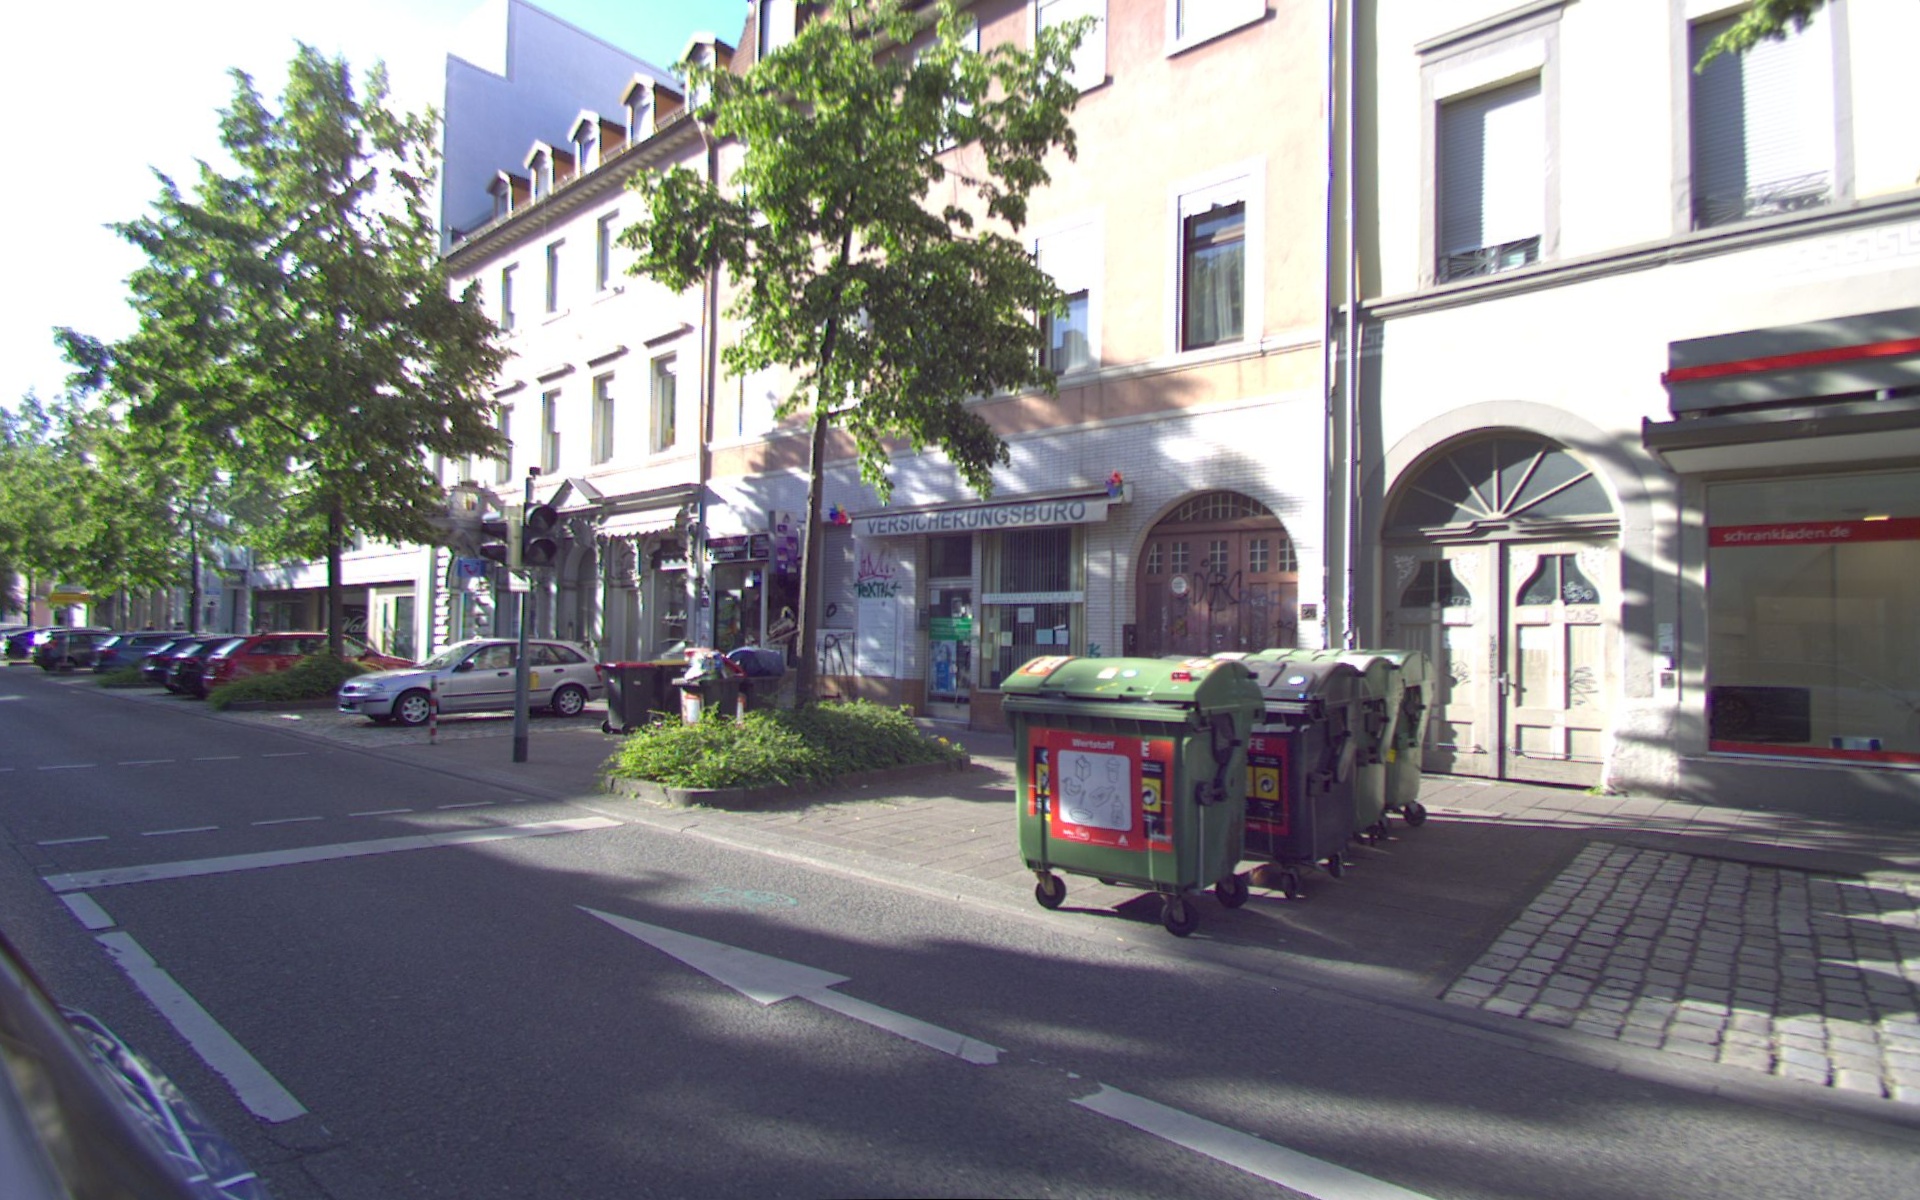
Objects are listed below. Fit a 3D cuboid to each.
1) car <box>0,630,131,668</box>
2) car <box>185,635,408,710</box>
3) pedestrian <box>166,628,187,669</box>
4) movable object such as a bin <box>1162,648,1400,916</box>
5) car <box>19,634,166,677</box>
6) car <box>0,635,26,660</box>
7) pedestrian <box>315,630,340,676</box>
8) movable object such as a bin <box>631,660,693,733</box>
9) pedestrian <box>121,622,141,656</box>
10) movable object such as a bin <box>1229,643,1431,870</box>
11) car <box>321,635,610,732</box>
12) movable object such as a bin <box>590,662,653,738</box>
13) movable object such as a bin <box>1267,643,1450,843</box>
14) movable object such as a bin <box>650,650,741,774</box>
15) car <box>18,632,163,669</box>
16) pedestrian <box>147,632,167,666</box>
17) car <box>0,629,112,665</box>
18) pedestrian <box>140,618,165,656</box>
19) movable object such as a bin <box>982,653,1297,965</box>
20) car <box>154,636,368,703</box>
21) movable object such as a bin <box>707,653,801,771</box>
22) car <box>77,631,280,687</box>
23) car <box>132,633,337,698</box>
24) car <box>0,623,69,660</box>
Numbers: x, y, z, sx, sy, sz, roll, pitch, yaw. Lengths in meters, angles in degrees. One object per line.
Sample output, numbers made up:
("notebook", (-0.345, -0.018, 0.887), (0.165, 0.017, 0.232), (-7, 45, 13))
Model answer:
("car", (-39.464, 2.133, 44.548), (1.979, 1.582, 4.320), (-2, -3, 41))
("car", (-14.329, 1.496, 21.990), (1.738, 1.479, 3.709), (-2, -3, 40))
("pedestrian", (-35.231, 2.175, 45.534), (0.690, 1.811, 0.747), (2, -3, -37))
("movable object such as a bin", (2.045, 1.061, 6.451), (1.142, 1.483, 1.031), (-2, -4, 40))
("car", (-31.347, 1.968, 36.643), (1.778, 1.470, 3.744), (-2, -3, 38))
("car", (-58.257, 2.846, 60.197), (1.708, 1.475, 3.742), (-2, -3, 38))
("pedestrian", (-20.140, 1.678, 32.207), (0.502, 1.419, 0.825), (1, -3, -45))
("movable object such as a bin", (-4.585, 1.471, 15.571), (0.804, 1.077, 0.525), (-2, -4, 40))
("pedestrian", (-40.219, 1.889, 49.100), (0.726, 1.639, 0.559), (-1, 1, 39))
("movable object such as a bin", (2.712, 1.066, 7.430), (1.142, 1.483, 0.954), (-1, -4, 40))
("car", (-8.431, 1.351, 17.533), (1.740, 1.479, 4.157), (-2, -3, 43))
("movable object such as a bin", (-5.018, 1.461, 15.007), (0.804, 1.077, 0.525), (-2, -4, 40))
("movable object such as a bin", (3.294, 1.111, 8.360), (1.142, 1.483, 1.031), (-2, -4, 40))
("movable object such as a bin", (-3.031, 1.253, 11.595), (0.804, 1.351, 0.628), (-2, -4, 40))
("car", (-35.893, 2.067, 41.858), (1.977, 1.470, 4.205), (-2, -3, 37))
("pedestrian", (-36.090, 2.195, 45.485), (0.842, 1.505, 0.586), (-2, -1, 42))
("car", (-41.639, 2.139, 46.138), (1.945, 1.582, 4.320), (-2, -3, 41))
("pedestrian", (-39.697, 1.813, 49.735), (0.762, 1.779, 0.767), (-1, 1, 39))
("movable object such as a bin", (1.020, 1.061, 5.788), (1.451, 1.483, 1.031), (-2, -4, 40))
("car", (-16.273, 1.561, 23.693), (1.789, 1.440, 3.799), (-2, -3, 42))
("movable object such as a bin", (-2.483, 1.321, 12.223), (0.804, 1.351, 0.747), (-2, -4, 40))
("car", (-22.889, 1.687, 29.812), (1.788, 1.470, 4.449), (-2, -2, 38))
("car", (-18.117, 1.594, 25.387), (1.770, 1.497, 3.876), (-2, -3, 42))
("car", (-48.468, 2.103, 51.799), (2.038, 1.850, 4.062), (-2, -3, 41))
